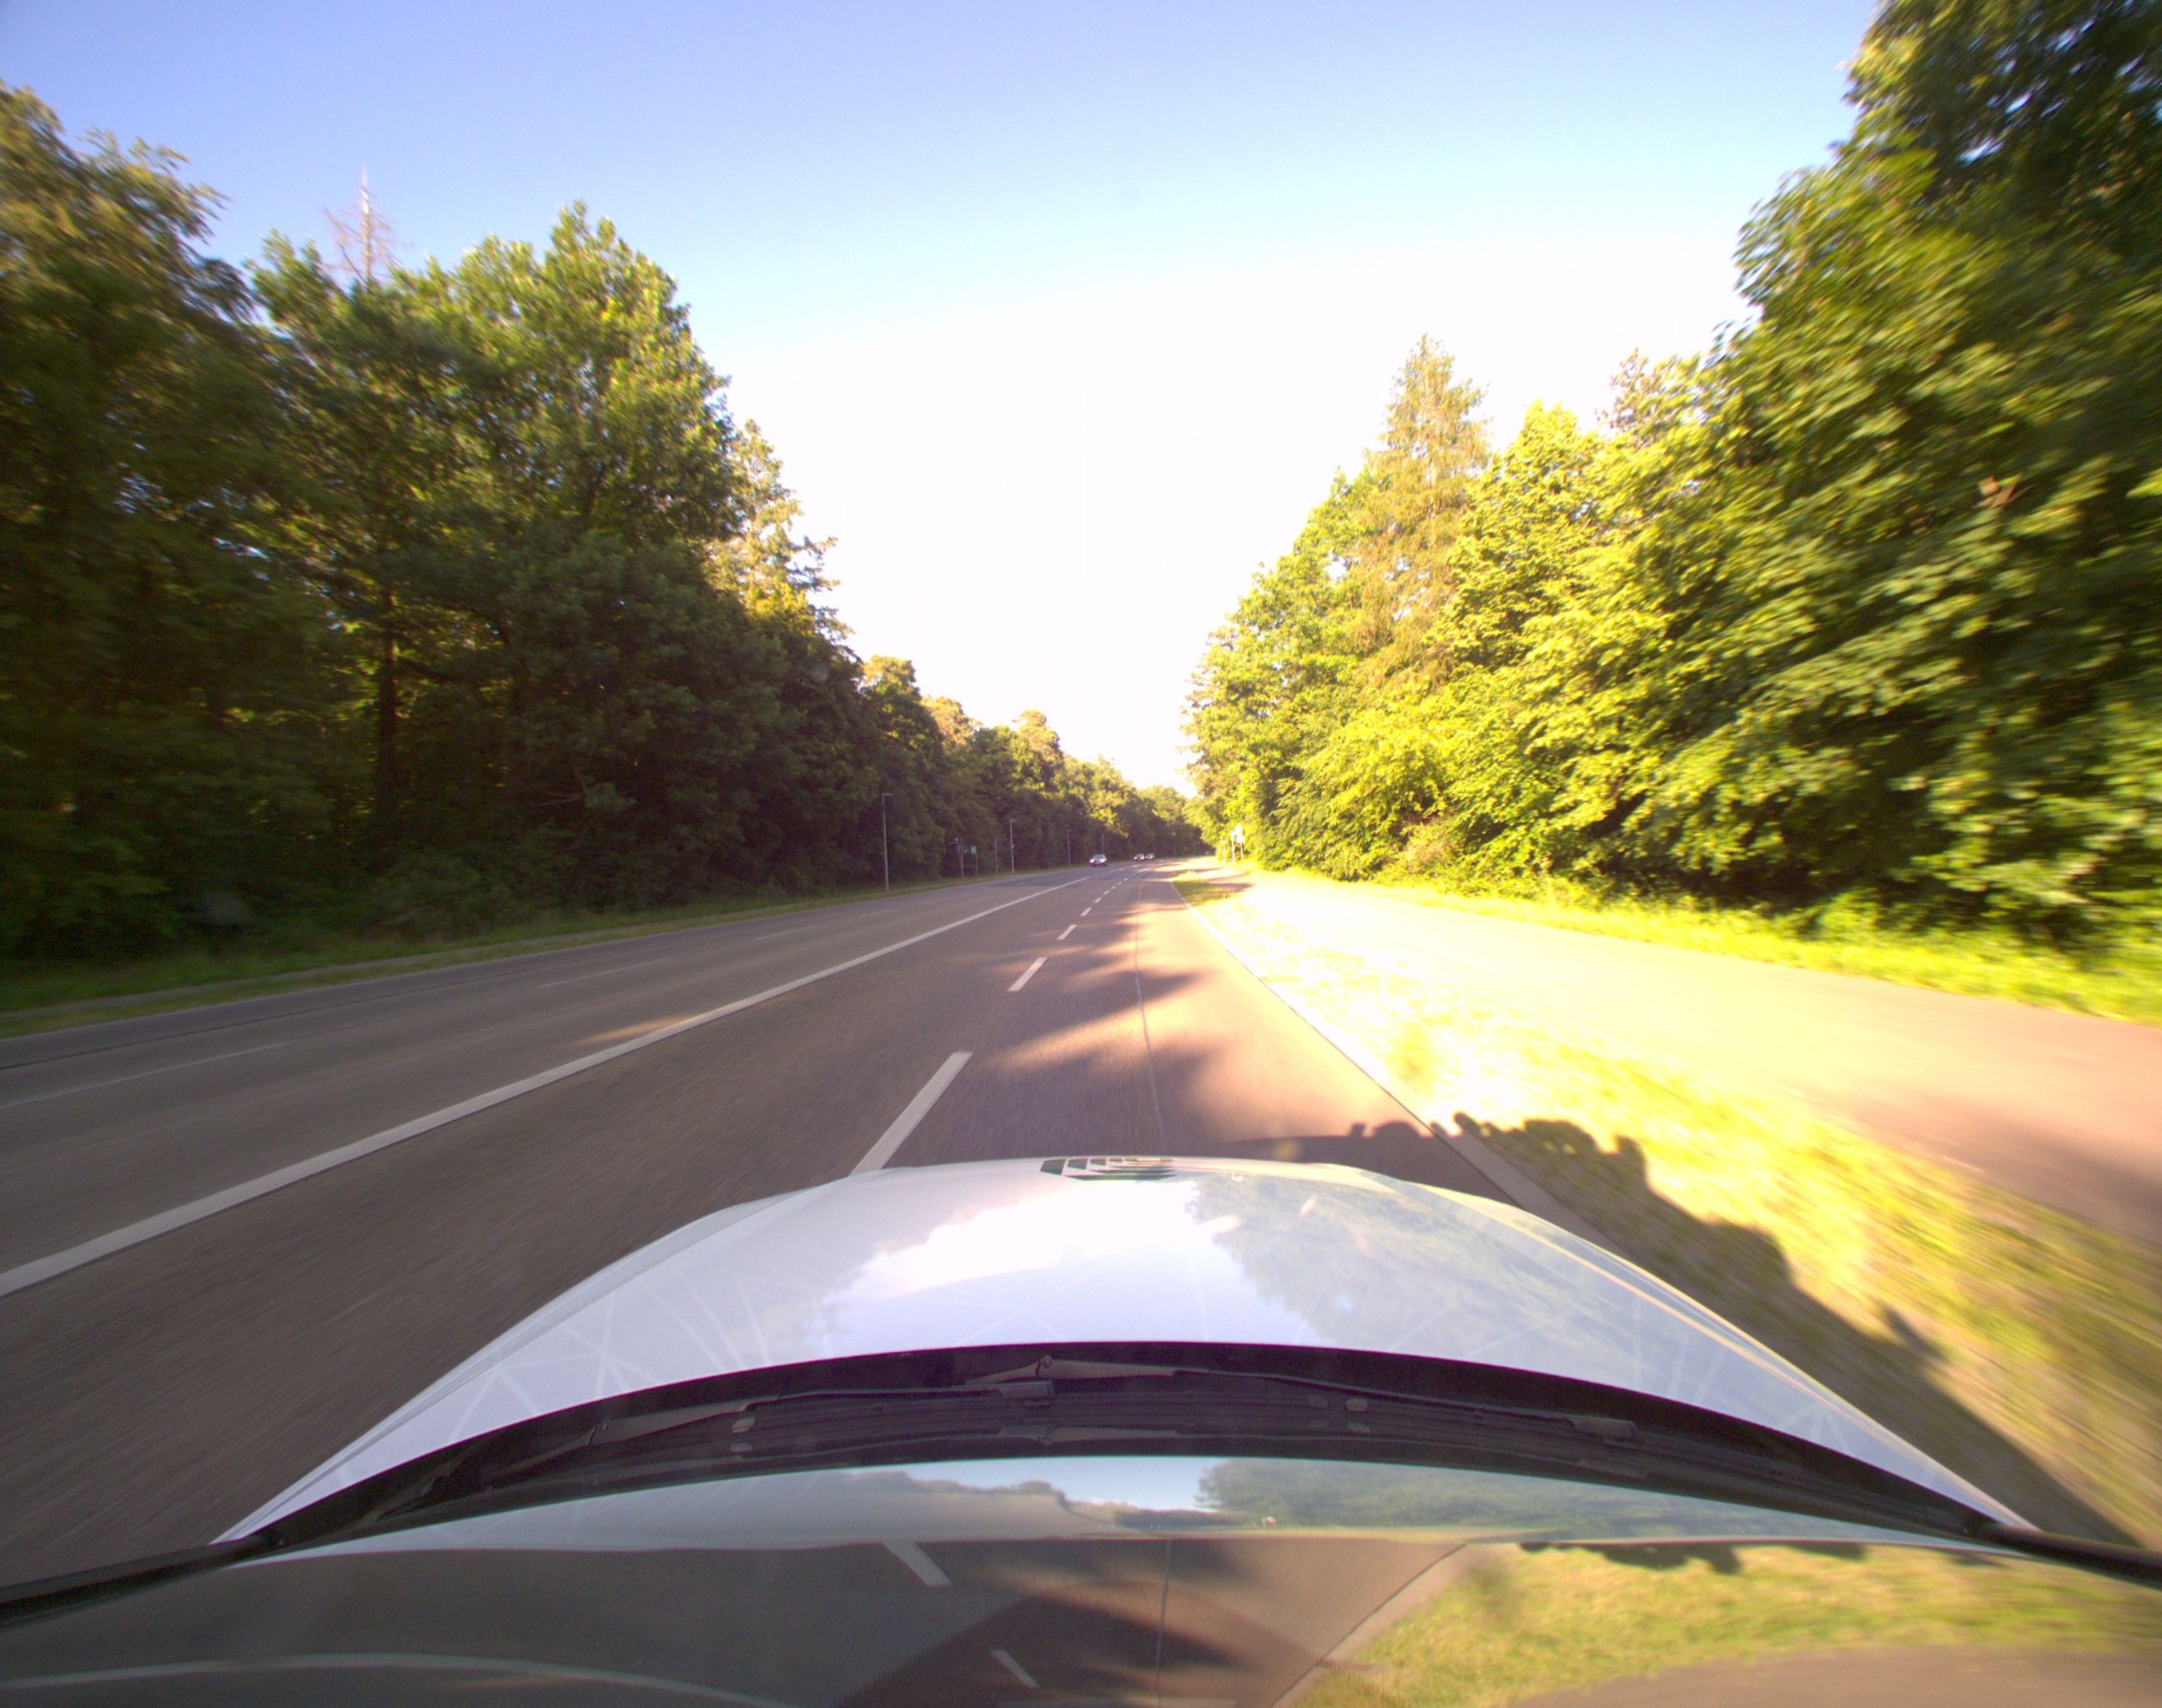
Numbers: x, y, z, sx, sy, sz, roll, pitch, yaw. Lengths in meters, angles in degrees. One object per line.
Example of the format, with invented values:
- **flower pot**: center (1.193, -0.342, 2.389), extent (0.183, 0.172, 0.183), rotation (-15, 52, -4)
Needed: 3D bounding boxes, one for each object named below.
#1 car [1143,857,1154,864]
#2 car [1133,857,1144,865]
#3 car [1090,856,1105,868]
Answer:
- **car**: center (15.317, 1.465, 184.715), extent (1.982, 1.585, 4.010), rotation (-2, -1, 9)
- **car**: center (11.569, 1.394, 164.774), extent (1.983, 1.585, 4.008), rotation (-2, -1, 7)
- **car**: center (2.253, 1.071, 109.077), extent (1.986, 1.585, 4.001), rotation (-2, -1, 1)
